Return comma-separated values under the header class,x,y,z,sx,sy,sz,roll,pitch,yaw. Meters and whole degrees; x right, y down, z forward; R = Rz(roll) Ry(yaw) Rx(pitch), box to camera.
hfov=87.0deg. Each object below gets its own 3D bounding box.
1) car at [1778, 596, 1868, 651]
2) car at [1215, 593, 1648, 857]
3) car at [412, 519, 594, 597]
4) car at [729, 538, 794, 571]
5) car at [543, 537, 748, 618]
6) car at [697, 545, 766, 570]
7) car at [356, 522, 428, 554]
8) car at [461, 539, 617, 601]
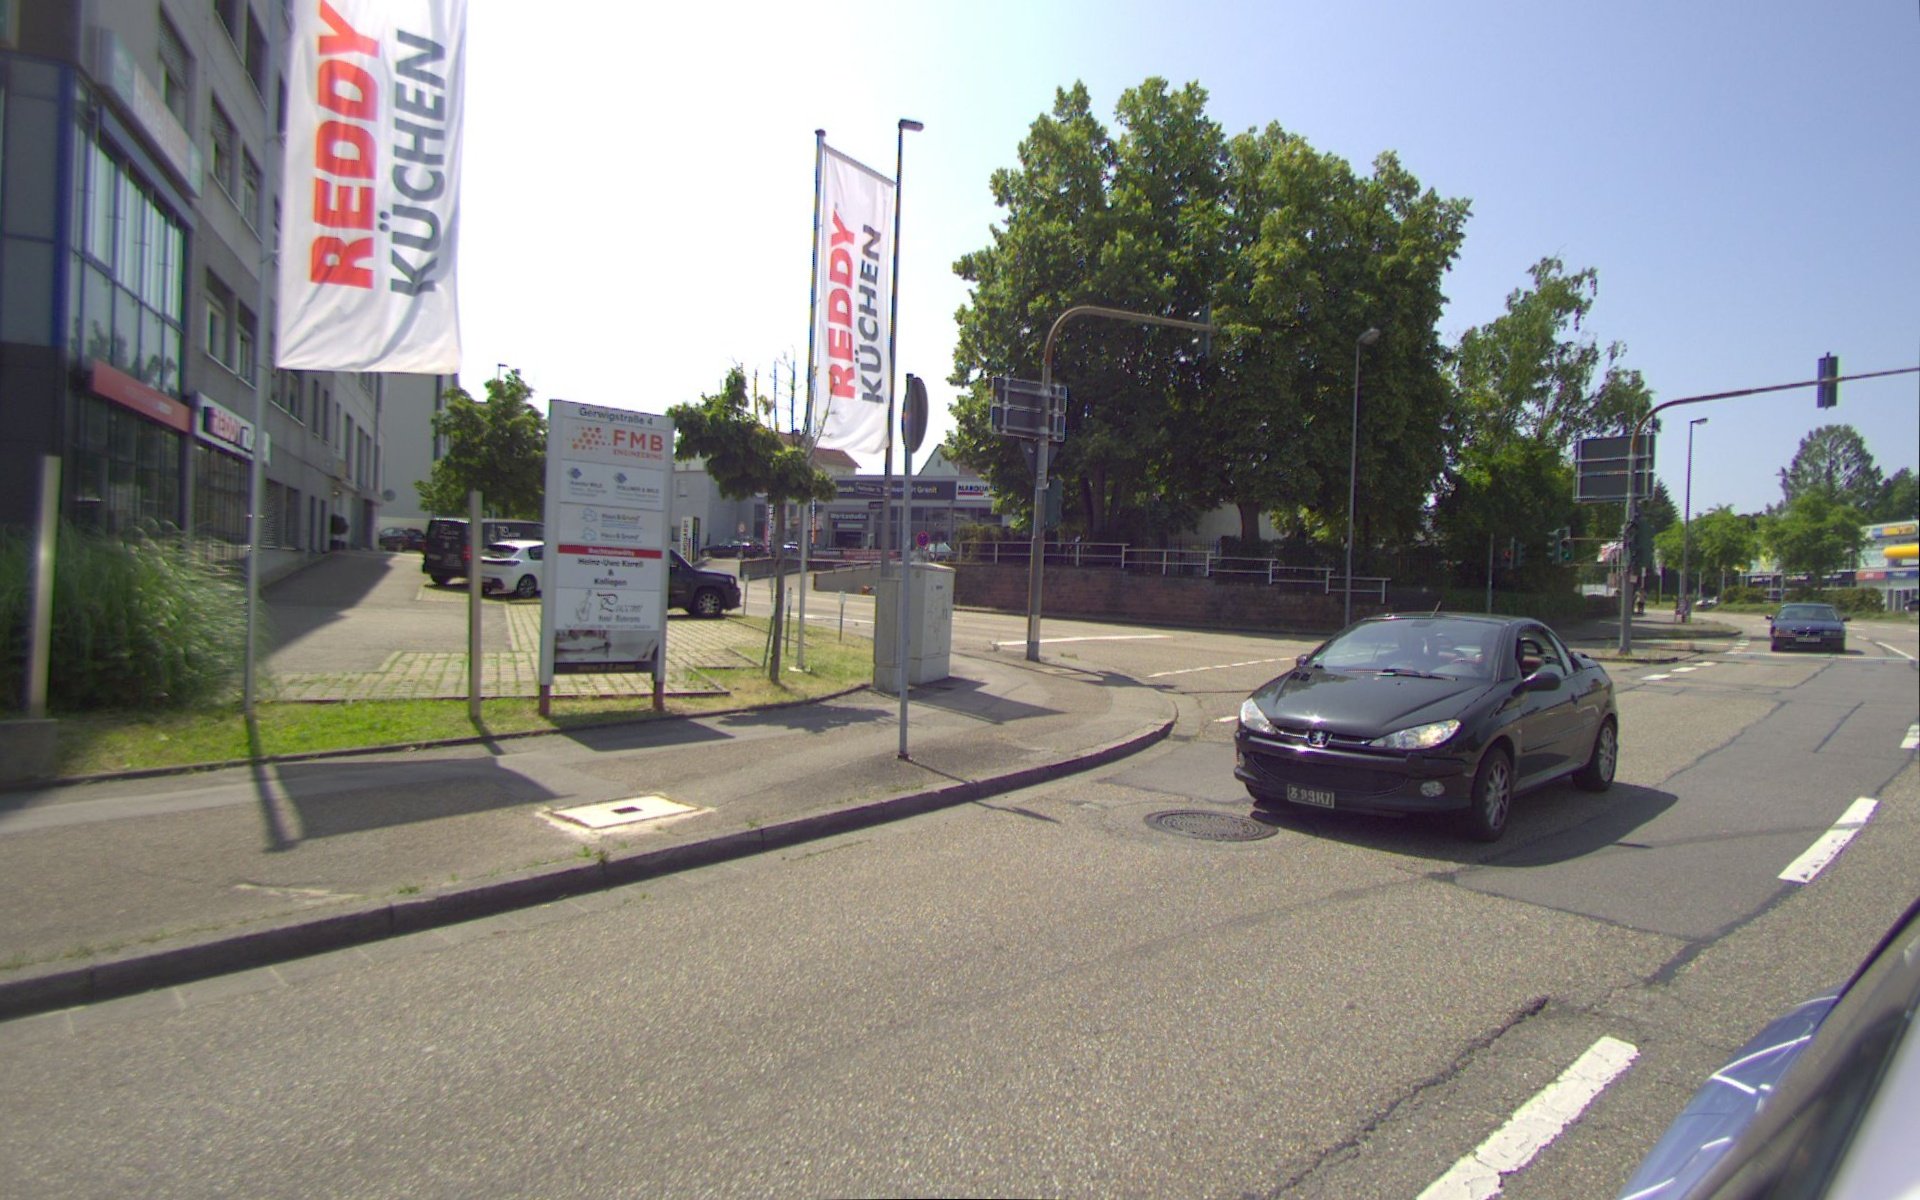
class,x,y,z,sx,sy,sz,roll,pitch,yaw
car,24.851,0.622,29.099,1.694,1.390,3.937,2,2,44
car,3.563,0.694,7.366,3.599,1.443,1.601,0,-1,-43
car,-13.424,-1.144,30.131,1.868,2.063,5.156,-1,-1,21
car,-13.954,-3.199,71.159,3.943,2.038,1.991,4,1,15
car,-7.118,-0.487,23.014,4.241,1.696,1.546,0,1,-27
car,-15.478,-2.870,68.612,4.117,1.474,1.991,4,1,15
car,-33.834,-3.664,60.285,3.961,1.683,1.862,0,0,28
car,-11.470,-0.799,27.893,1.525,1.551,4.197,2,2,21
